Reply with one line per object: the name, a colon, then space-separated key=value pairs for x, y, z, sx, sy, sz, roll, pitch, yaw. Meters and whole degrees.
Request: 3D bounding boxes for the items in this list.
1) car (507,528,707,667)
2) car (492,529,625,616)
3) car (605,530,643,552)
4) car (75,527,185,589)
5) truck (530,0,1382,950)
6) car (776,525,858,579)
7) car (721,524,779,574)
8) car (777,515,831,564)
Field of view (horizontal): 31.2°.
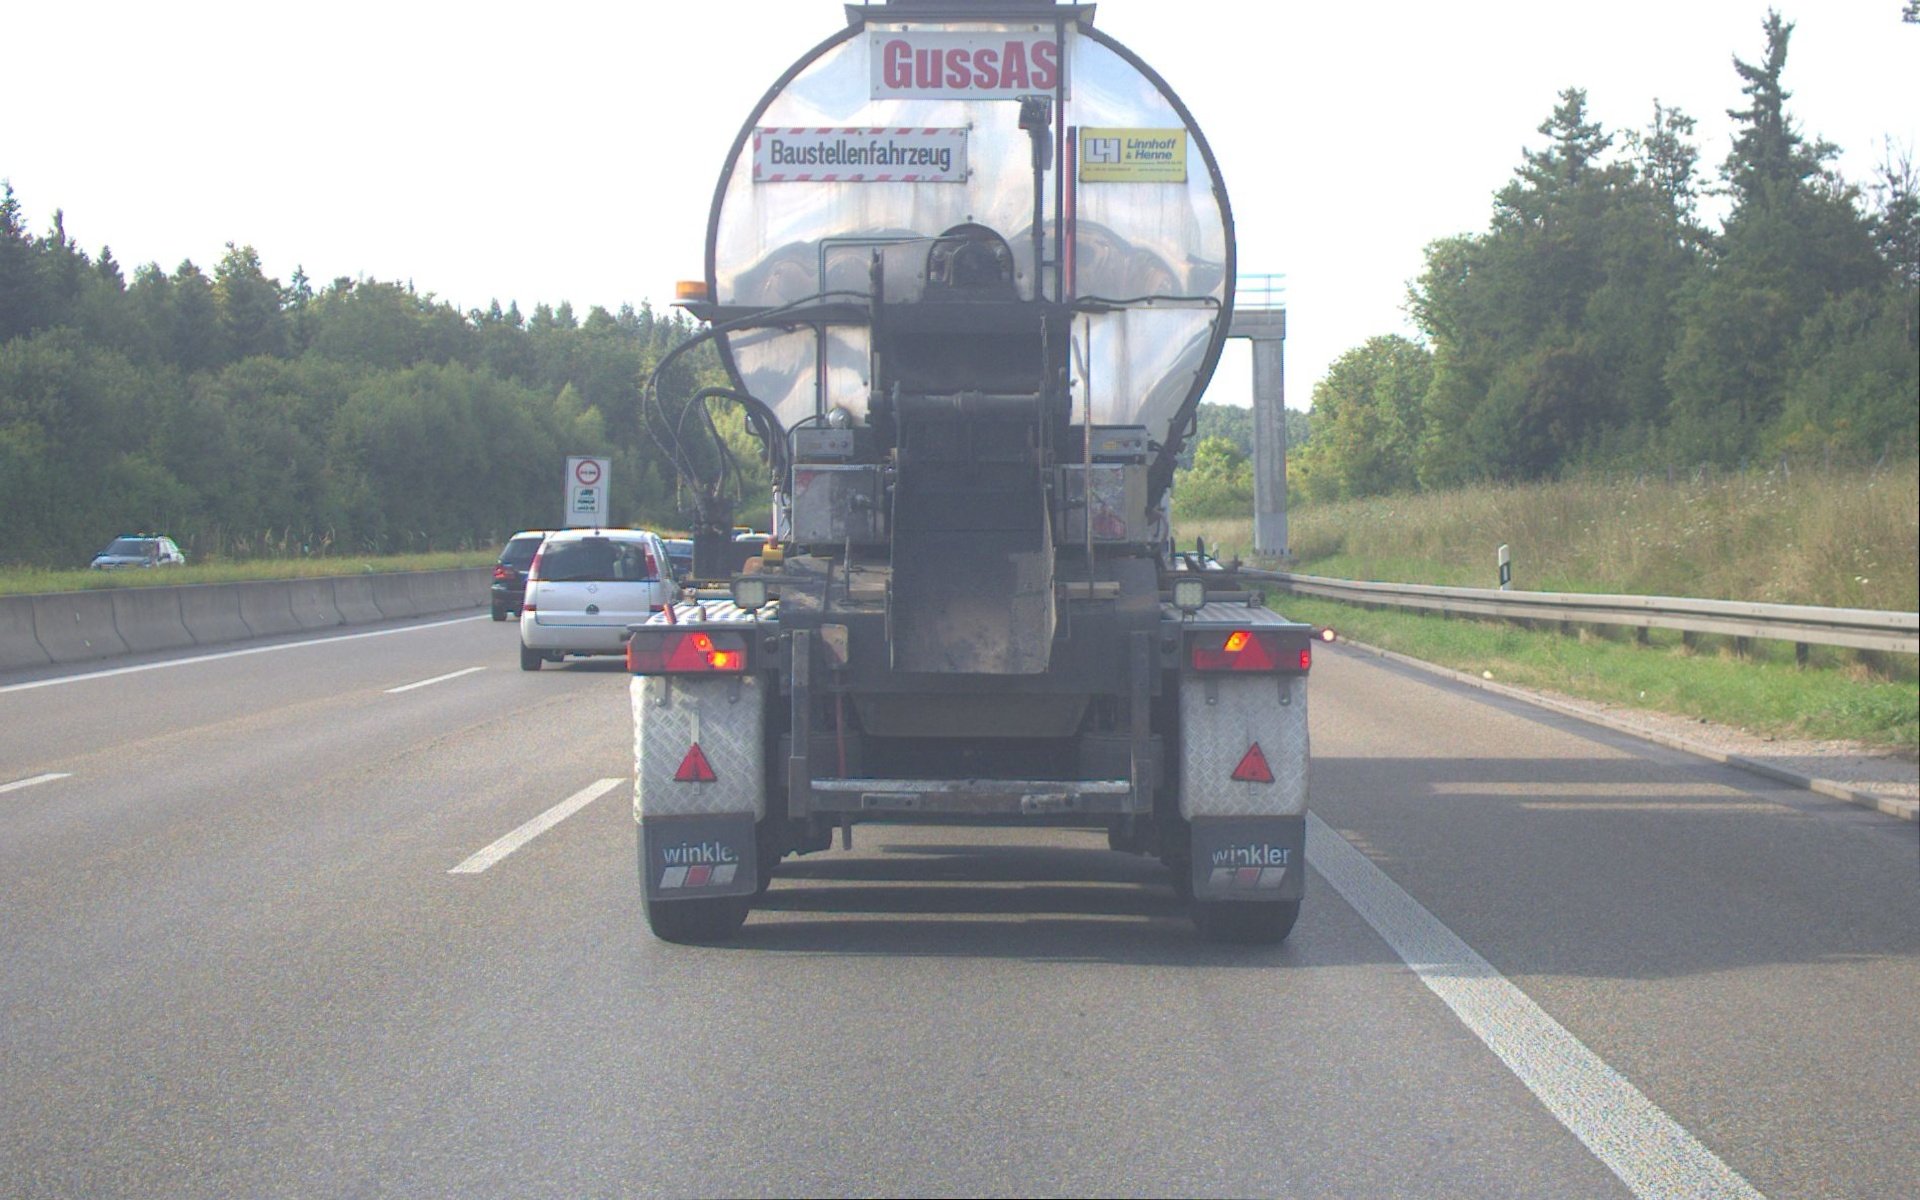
car: x=-4.026 y=-0.074 z=39.831 sx=1.835 sy=1.512 sz=4.333 roll=0 pitch=1 yaw=1
car: x=-7.166 y=-0.519 z=61.690 sx=1.835 sy=1.512 sz=4.333 roll=0 pitch=1 yaw=1
car: x=-19.447 y=-3.422 z=199.002 sx=1.816 sy=1.286 sz=3.544 roll=0 pitch=1 yaw=1
car: x=-22.364 y=-1.154 z=92.792 sx=1.879 sy=1.622 sz=4.570 roll=0 pitch=1 yaw=0
truck: x=0.058 y=-0.995 z=17.417 sx=2.913 sy=4.143 sz=11.270 roll=0 pitch=1 yaw=1
car: x=-4.076 y=-1.394 z=98.724 sx=2.060 sy=1.494 sz=5.736 roll=0 pitch=1 yaw=1
car: x=-6.650 y=-1.629 z=109.095 sx=1.618 sy=1.539 sz=3.520 roll=1 pitch=1 yaw=0
car: x=-5.784 y=-2.266 z=127.918 sx=1.845 sy=1.776 sz=4.000 roll=0 pitch=1 yaw=-1
